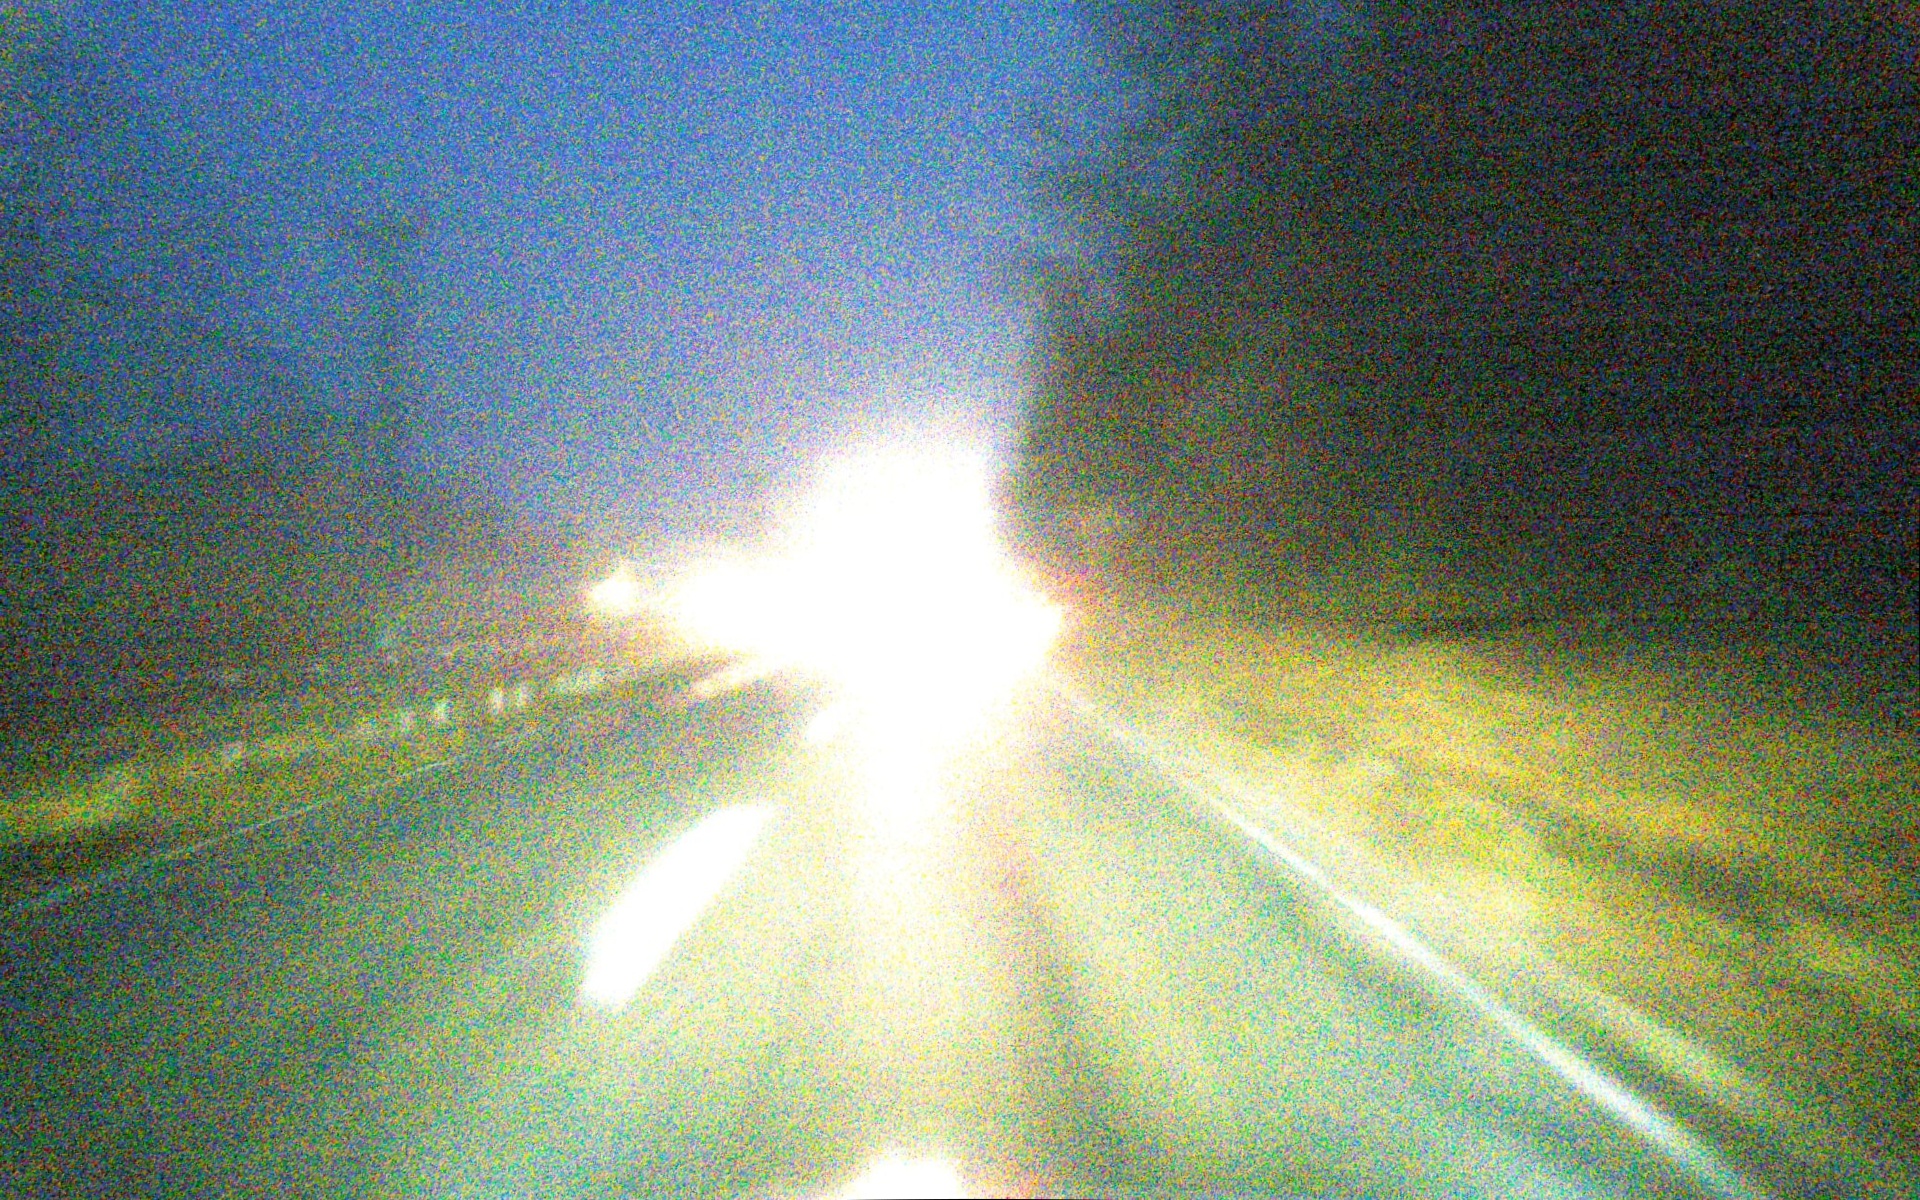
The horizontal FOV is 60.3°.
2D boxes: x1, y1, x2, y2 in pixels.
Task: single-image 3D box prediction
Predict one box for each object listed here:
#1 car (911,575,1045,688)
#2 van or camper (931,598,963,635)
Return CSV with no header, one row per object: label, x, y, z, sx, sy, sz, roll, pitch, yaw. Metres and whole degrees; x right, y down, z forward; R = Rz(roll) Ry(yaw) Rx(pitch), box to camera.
car,0.328,0.650,33.002,2.407,1.993,4.910,-2,-2,0
van or camper,-1.016,1.210,124.509,2.081,2.610,5.780,-3,0,-3
